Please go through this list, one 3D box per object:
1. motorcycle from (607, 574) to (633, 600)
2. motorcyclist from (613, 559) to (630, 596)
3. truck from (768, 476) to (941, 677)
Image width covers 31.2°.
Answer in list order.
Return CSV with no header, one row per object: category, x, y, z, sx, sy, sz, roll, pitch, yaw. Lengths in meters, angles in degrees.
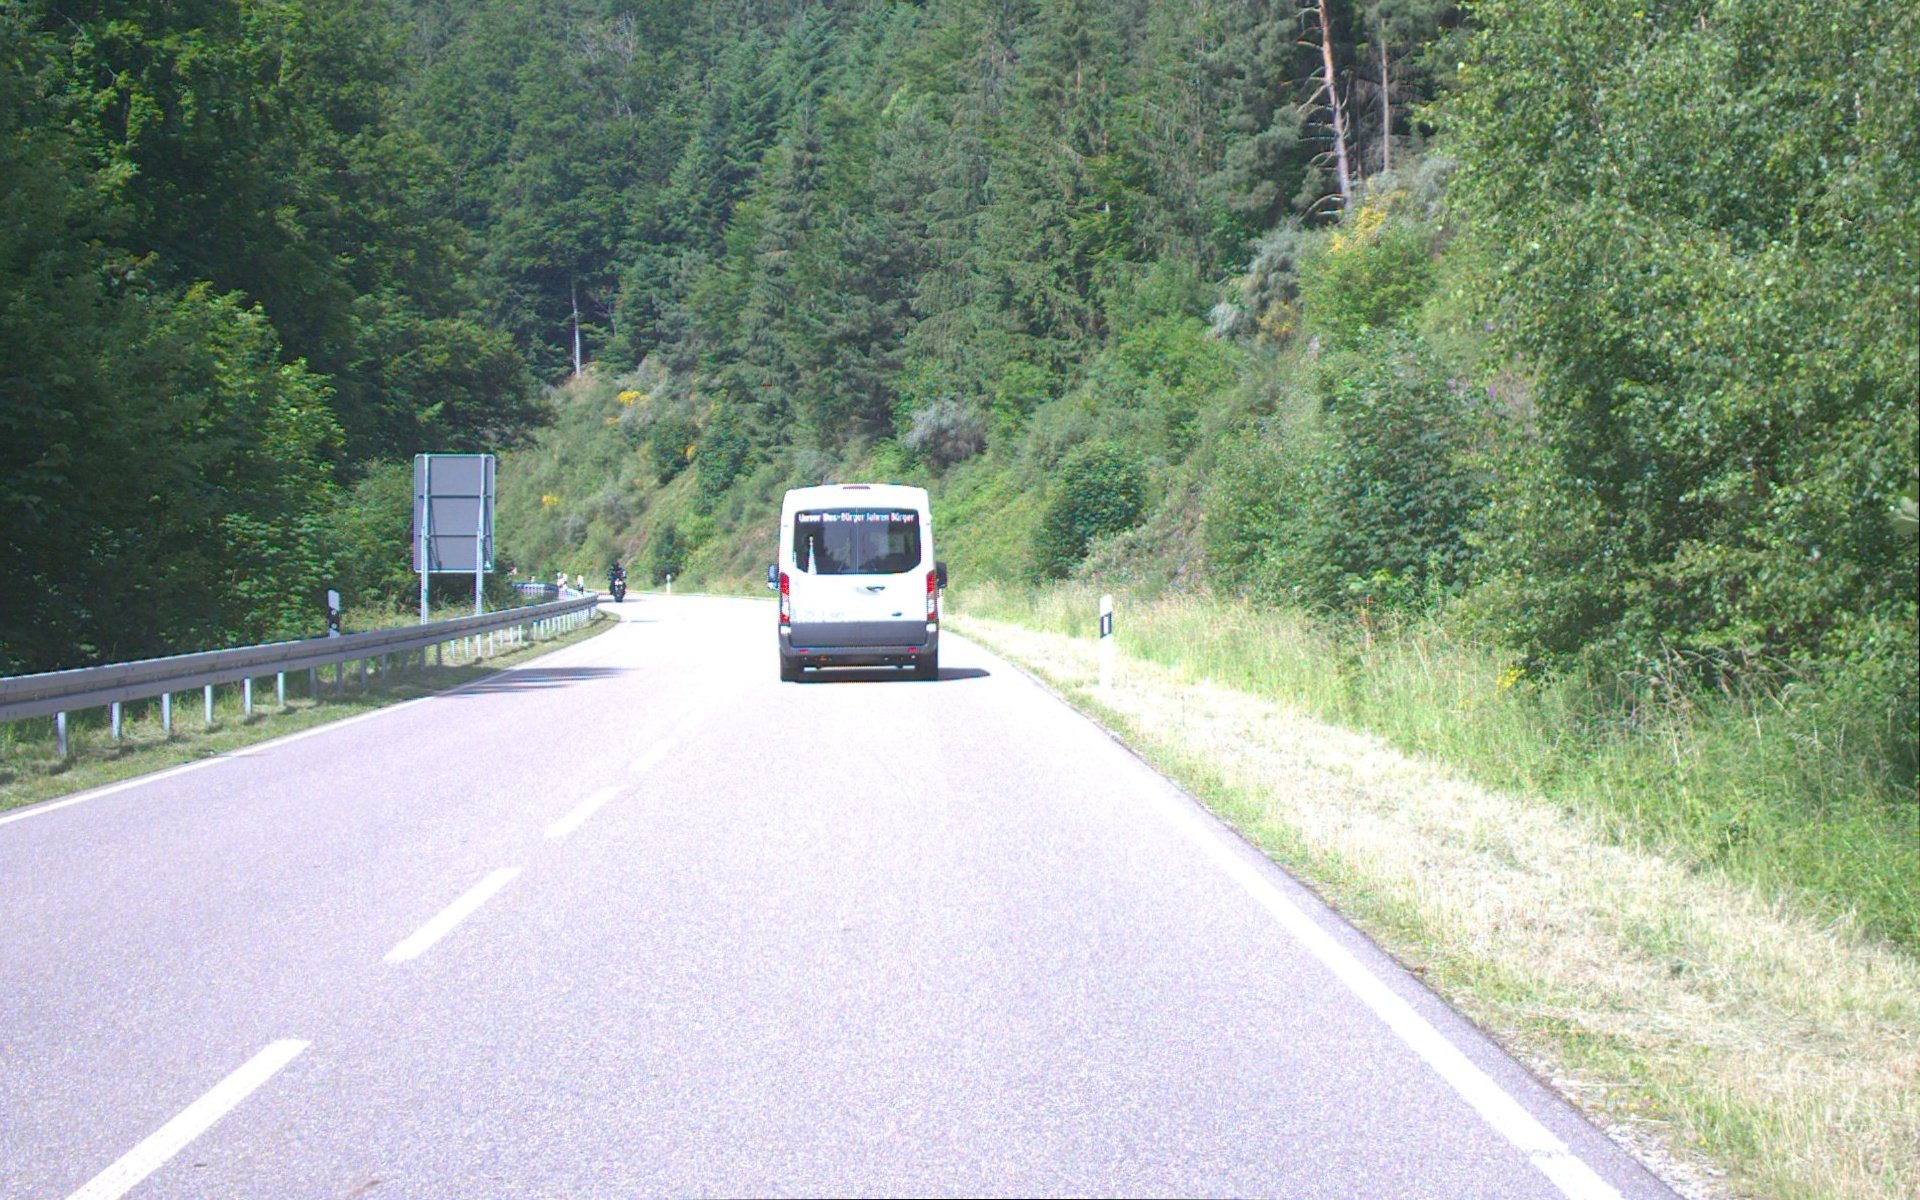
motorcycle,-14.299,-0.552,144.618,0.984,1.068,1.963,-1,1,-3
motorcyclist,-14.244,-0.948,144.647,0.658,1.508,0.934,-1,1,-3
truck,-1.423,-0.314,44.578,2.083,2.451,4.875,0,1,-3
